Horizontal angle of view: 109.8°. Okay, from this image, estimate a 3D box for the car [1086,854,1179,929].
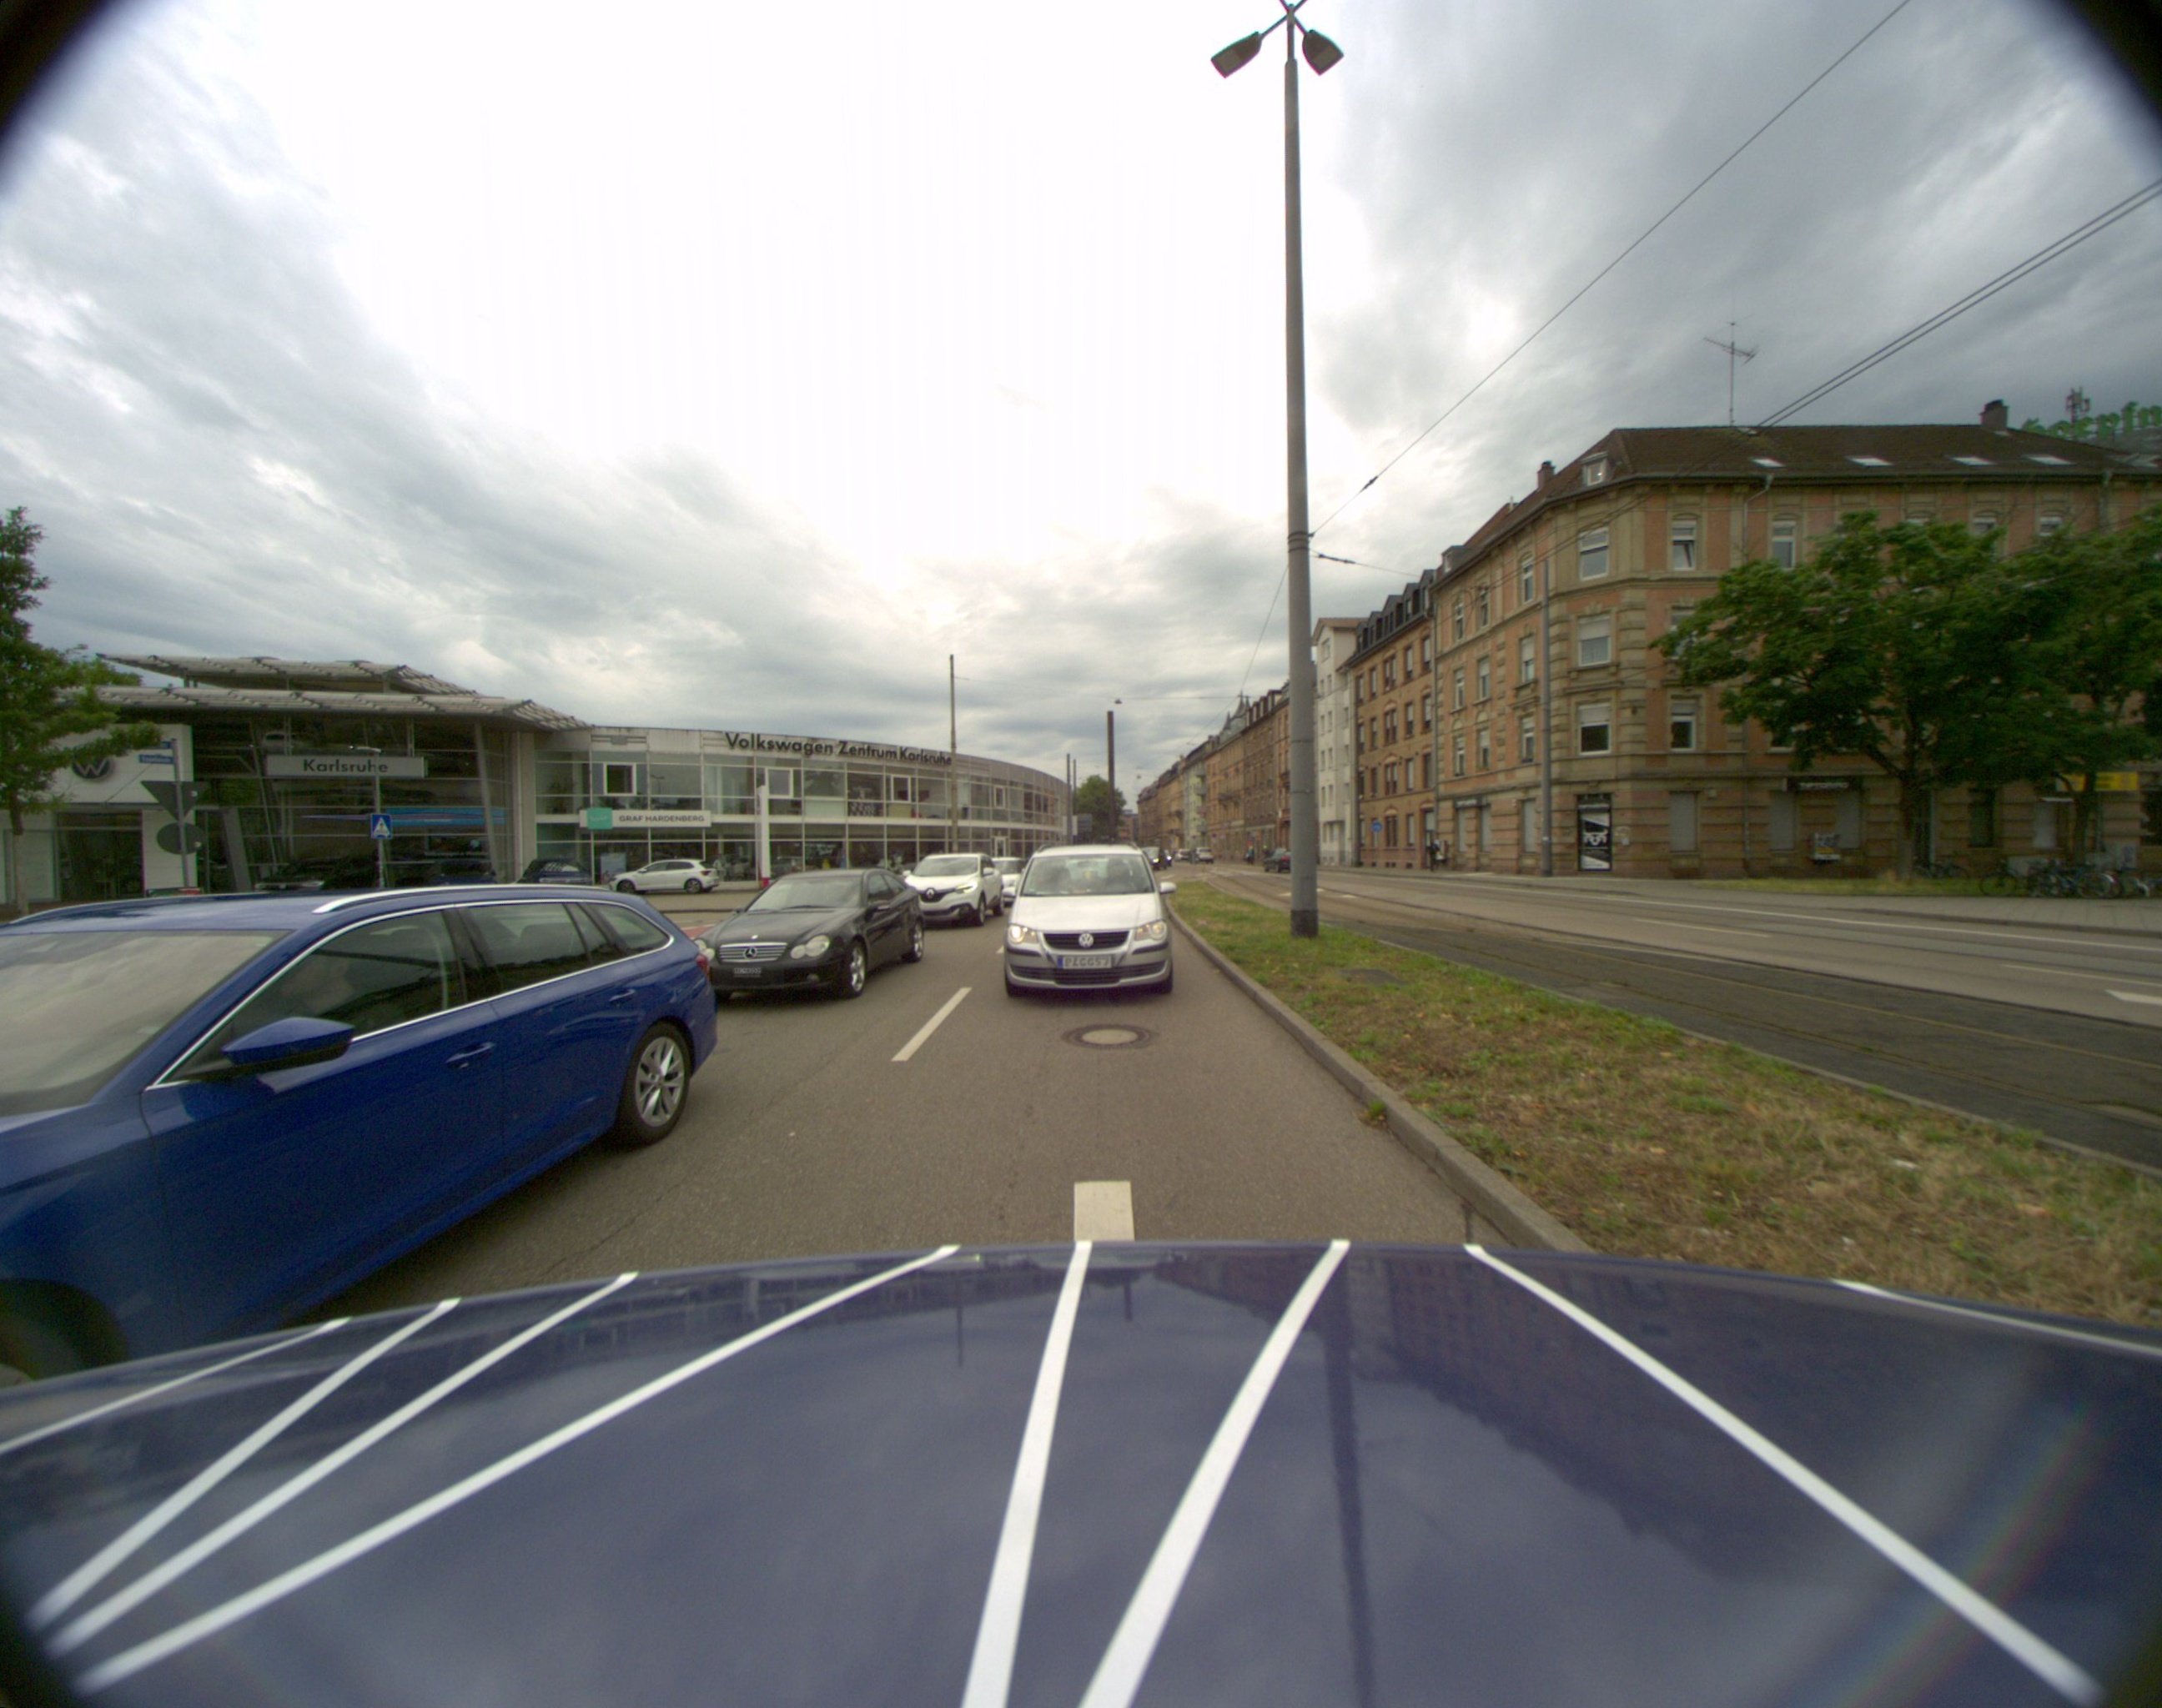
[{"bbox_3d":[1.021,0.731,16.833,1.810,1.398,3.982,0,1,0],"label":"car"}]

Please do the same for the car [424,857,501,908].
[{"bbox_3d":[-22.451,0.965,27.726,1.961,1.517,4.217,-2,2,-37],"label":"car"}]

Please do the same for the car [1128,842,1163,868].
[{"bbox_3d":[4.675,0.029,55.424,2.372,1.745,5.130,-1,1,3],"label":"car"}]

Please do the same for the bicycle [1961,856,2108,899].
[{"bbox_3d":[24.880,0.584,19.921,0.837,1.024,2.396,-1,1,0],"label":"bicycle"}]

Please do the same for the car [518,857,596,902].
[{"bbox_3d":[-20.217,0.926,29.278,1.795,1.552,4.022,-2,1,-44],"label":"car"}]

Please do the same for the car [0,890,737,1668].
[{"bbox_3d":[-3.164,1.004,2.575,1.770,1.428,4.756,-2,1,0],"label":"car"}]

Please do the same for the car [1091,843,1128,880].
[{"bbox_3d":[1.610,0.379,44.056,1.998,2.002,3.999,-1,1,1],"label":"car"}]

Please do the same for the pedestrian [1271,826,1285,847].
[{"bbox_3d":[17.377,-1.523,66.925,0.921,1.822,0.719,-2,2,-35],"label":"pedestrian"}]

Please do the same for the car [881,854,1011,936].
[{"bbox_3d":[-2.884,0.824,17.199,1.982,1.550,4.145,-1,1,3],"label":"car"}]

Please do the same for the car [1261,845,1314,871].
[{"bbox_3d":[12.524,0.226,46.337,1.888,1.461,4.462,-1,1,-2],"label":"car"}]

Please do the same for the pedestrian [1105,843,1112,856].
[{"bbox_3d":[4.204,-0.695,114.523,1.004,2.002,0.908,-1,1,0],"label":"pedestrian"}]

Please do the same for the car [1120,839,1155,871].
[{"bbox_3d":[3.654,0.035,49.398,1.998,2.002,3.999,-1,1,1],"label":"car"}]

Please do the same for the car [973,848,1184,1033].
[{"bbox_3d":[0.005,0.758,9.372,1.863,1.609,5.061,-1,1,1],"label":"car"}]

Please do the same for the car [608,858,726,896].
[{"bbox_3d":[-17.191,0.933,31.724,3.908,1.433,1.731,-1,1,-10],"label":"car"}]

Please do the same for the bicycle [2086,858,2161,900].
[{"bbox_3d":[28.004,0.647,19.690,0.754,1.024,2.396,-1,1,0],"label":"bicycle"}]

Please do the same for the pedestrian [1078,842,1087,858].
[{"bbox_3d":[0.198,-0.544,97.337,1.177,2.002,1.032,-1,1,0],"label":"pedestrian"}]

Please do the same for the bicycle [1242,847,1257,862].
[{"bbox_3d":[15.169,0.063,68.402,0.799,1.285,2.410,-1,1,0],"label":"bicycle"}]

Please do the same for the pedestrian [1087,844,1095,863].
[{"bbox_3d":[0.870,-0.031,67.730,0.663,1.671,0.650,-1,1,-1],"label":"pedestrian"}]

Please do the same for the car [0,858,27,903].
[{"bbox_3d":[-37.657,1.145,24.426,1.958,1.450,4.219,-1,8,-12],"label":"car"}]

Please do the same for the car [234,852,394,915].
[{"bbox_3d":[-26.732,0.925,26.754,1.959,1.635,4.663,-1,5,-18],"label":"car"}]

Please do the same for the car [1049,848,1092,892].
[{"bbox_3d":[-0.468,0.742,37.651,1.998,2.002,3.999,-1,1,1],"label":"car"}]

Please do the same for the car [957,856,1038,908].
[{"bbox_3d":[-2.514,0.823,23.905,1.908,1.428,3.972,-1,1,3],"label":"car"}]

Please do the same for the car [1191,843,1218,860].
[{"bbox_3d":[12.529,-0.266,77.285,1.835,1.636,4.229,-1,1,-2],"label":"car"}]

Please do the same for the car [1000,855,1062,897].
[{"bbox_3d":[-1.866,0.809,29.373,1.908,1.428,3.972,-1,1,3],"label":"car"}]

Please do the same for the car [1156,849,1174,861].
[{"bbox_3d":[11.829,0.129,106.799,1.897,1.693,4.232,-1,1,-2],"label":"car"}]

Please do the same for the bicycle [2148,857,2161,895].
[{"bbox_3d":[29.630,0.611,19.632,0.754,1.024,2.396,-1,1,0],"label":"bicycle"}]

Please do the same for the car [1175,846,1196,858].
[{"bbox_3d":[12.247,-0.246,89.524,1.815,1.423,4.016,-1,1,-2],"label":"car"}]

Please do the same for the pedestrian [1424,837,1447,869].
[{"bbox_3d":[18.508,-0.043,39.691,0.812,1.666,0.798,-1,1,-4],"label":"pedestrian"}]

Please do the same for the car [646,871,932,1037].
[{"bbox_3d":[-3.216,1.006,9.458,1.770,1.362,4.421,-2,1,0],"label":"car"}]

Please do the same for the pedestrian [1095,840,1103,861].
[{"bbox_3d":[1.677,-0.331,70.225,0.652,1.904,0.602,-1,1,0],"label":"pedestrian"}]

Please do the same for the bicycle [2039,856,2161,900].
[{"bbox_3d":[26.904,0.597,19.843,0.754,1.024,2.396,-1,1,0],"label":"bicycle"}]

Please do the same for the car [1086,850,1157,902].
[{"bbox_3d":[1.266,0.612,23.505,1.972,1.447,4.193,-1,1,3],"label":"car"}]

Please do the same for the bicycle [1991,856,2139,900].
[{"bbox_3d":[25.689,0.599,19.919,0.754,1.024,2.396,-1,1,0],"label":"bicycle"}]

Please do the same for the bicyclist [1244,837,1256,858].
[{"bbox_3d":[15.161,-0.607,68.185,0.824,1.856,0.923,-1,1,0],"label":"bicyclist"}]
